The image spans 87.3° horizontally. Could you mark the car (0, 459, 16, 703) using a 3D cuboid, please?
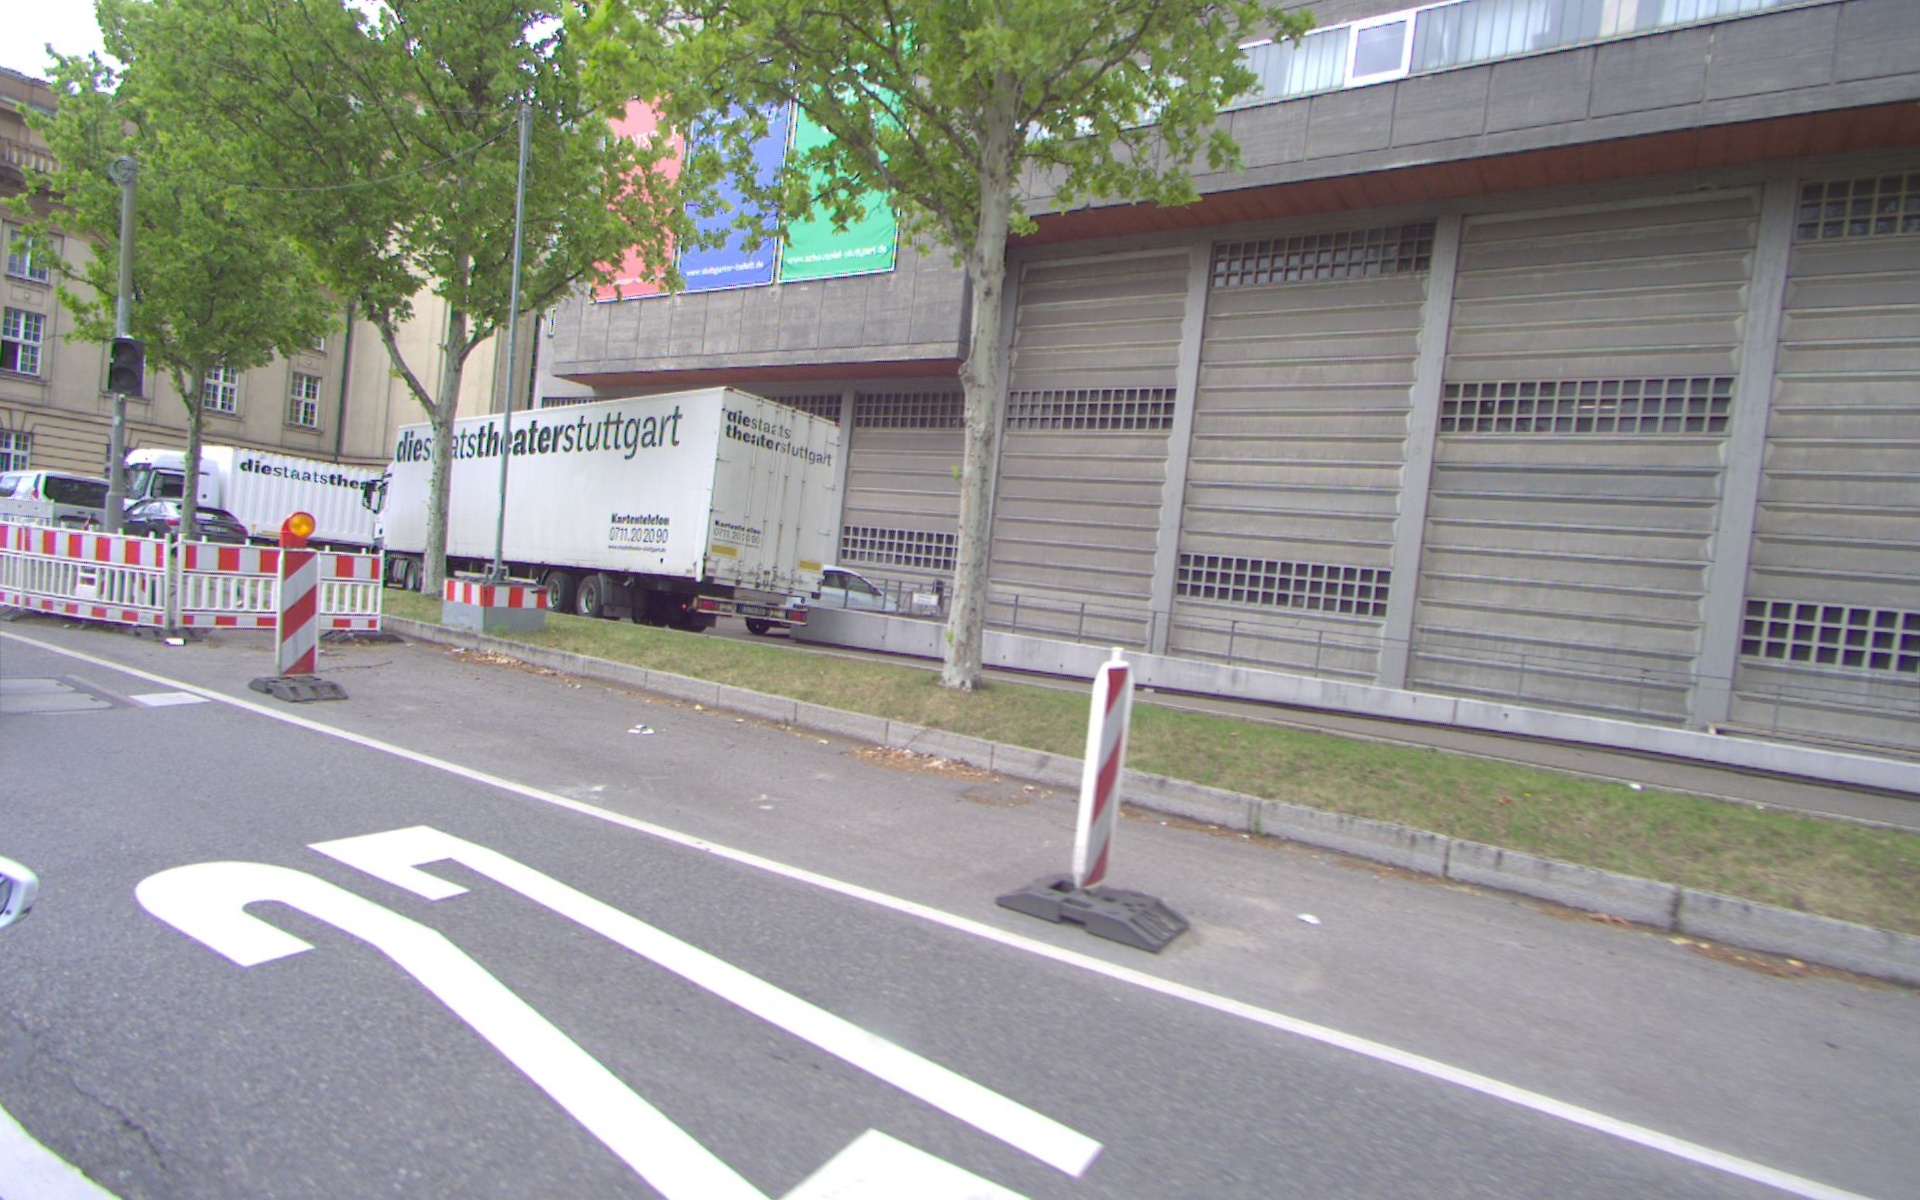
[{"bbox_3d":[-8.891,-0.377,7.112,4.472,1.665,1.813,7,3,27],"label":"car"}]

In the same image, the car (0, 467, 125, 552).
[{"bbox_3d":[-21.012,-2.096,22.959,4.261,1.587,1.752,6,0,33],"label":"car"}]

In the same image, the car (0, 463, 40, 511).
[{"bbox_3d":[-35.723,-4.245,36.882,4.261,1.587,1.857,6,0,33],"label":"car"}]

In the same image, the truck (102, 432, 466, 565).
[{"bbox_3d":[-22.548,-3.226,34.482,2.527,3.089,10.033,6,0,33],"label":"truck"}]

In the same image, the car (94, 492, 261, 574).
[{"bbox_3d":[-19.264,-1.657,24.717,4.261,1.587,1.857,6,0,33],"label":"car"}]
